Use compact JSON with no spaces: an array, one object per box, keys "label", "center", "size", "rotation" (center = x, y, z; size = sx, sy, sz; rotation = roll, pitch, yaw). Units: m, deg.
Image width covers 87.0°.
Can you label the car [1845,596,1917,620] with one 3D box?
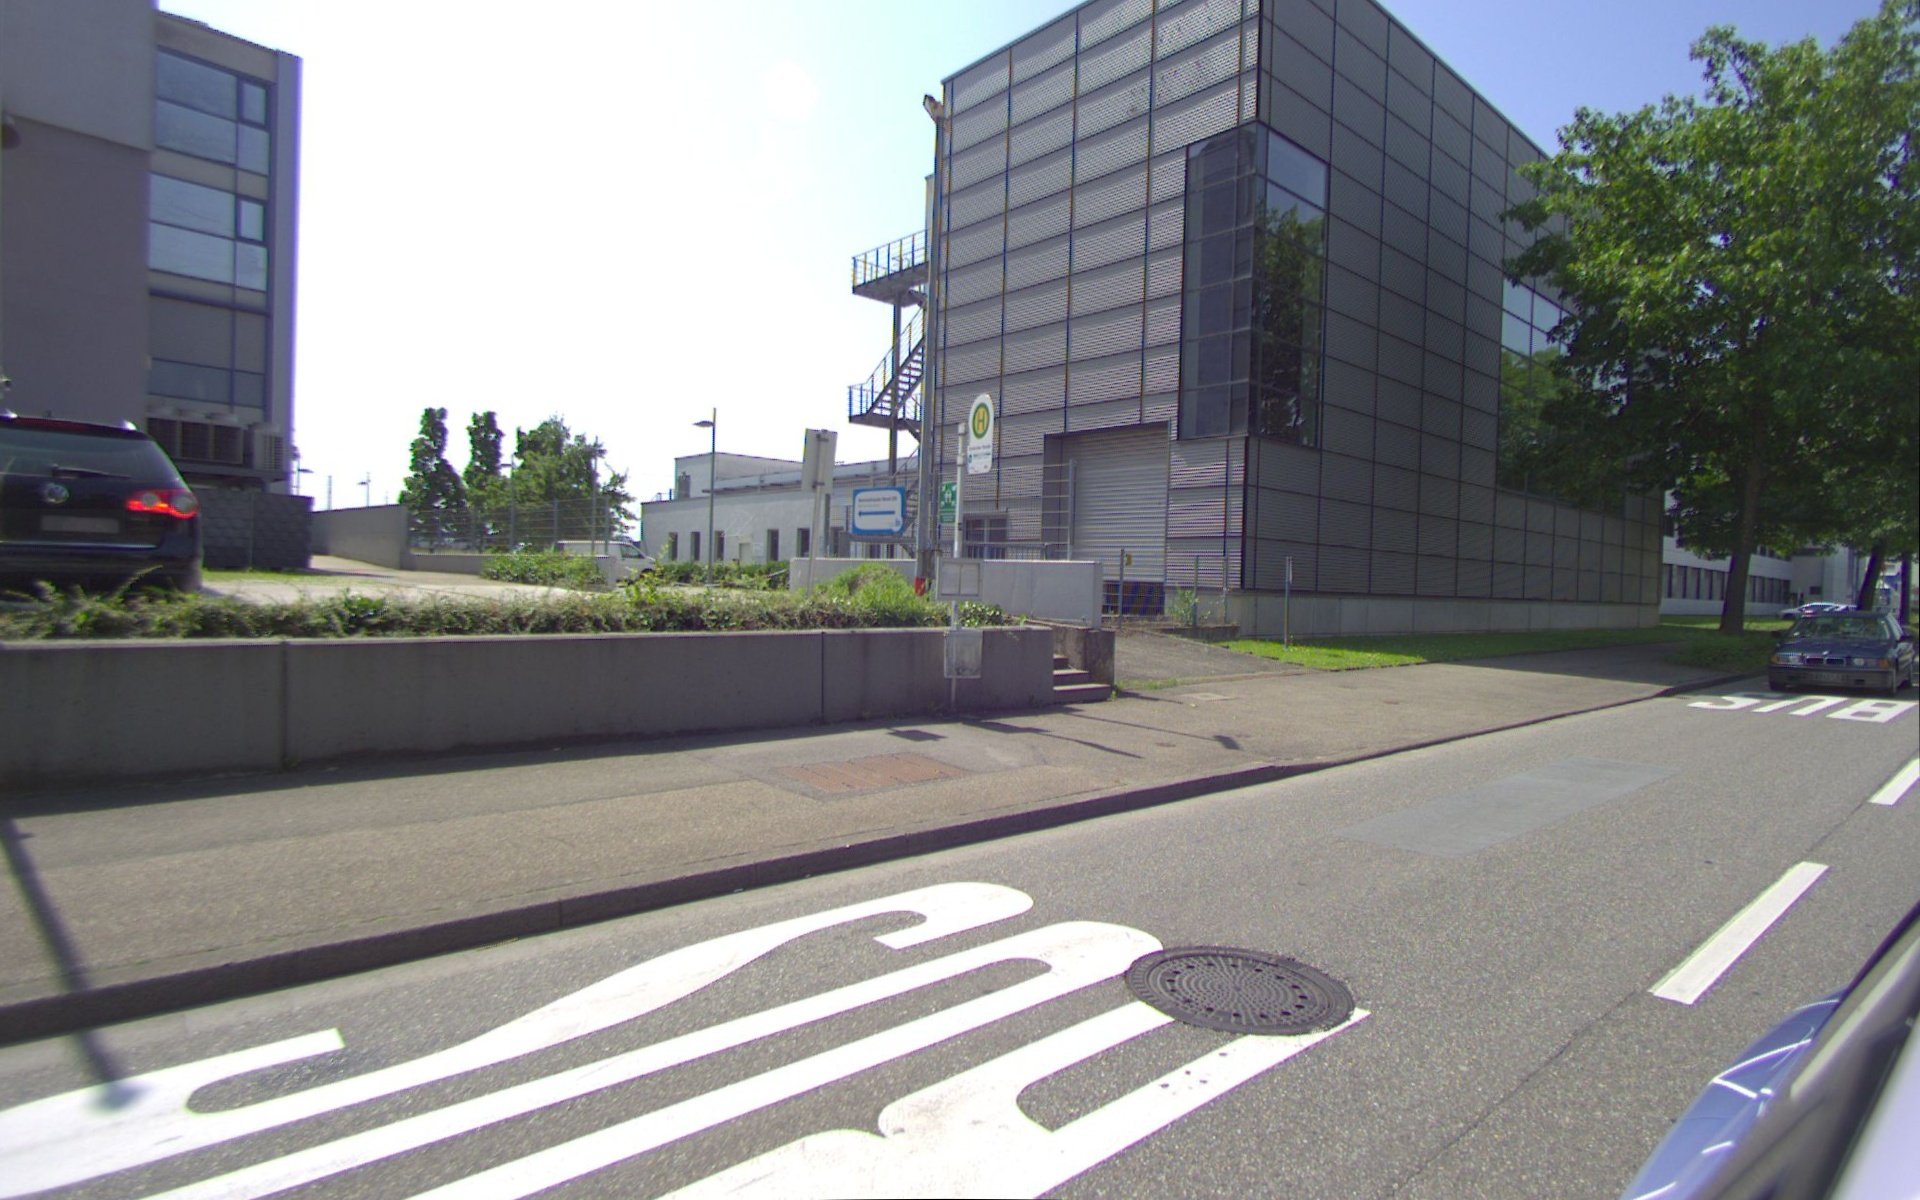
[{"label":"car","center":[75.591,0.610,83.097],"size":[1.968,1.710,4.262],"rotation":[0,3,-45]}]

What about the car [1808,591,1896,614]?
[{"label":"car","center":[63.851,0.175,72.514],"size":[4.615,1.407,1.968],"rotation":[4,3,44]}]

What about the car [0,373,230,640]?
[{"label":"car","center":[-7.162,-0.675,7.892],"size":[1.965,1.602,4.508],"rotation":[0,3,-41]}]

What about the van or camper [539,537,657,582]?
[{"label":"van or camper","center":[-15.796,-1.745,44.265],"size":[4.458,1.816,1.997],"rotation":[0,3,-42]}]

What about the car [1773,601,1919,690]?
[{"label":"car","center":[15.518,0.743,17.525],"size":[3.691,1.356,1.630],"rotation":[1,0,-41]}]

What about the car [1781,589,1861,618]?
[{"label":"car","center":[57.337,0.209,67.422],"size":[1.704,1.611,3.816],"rotation":[1,4,-45]}]
